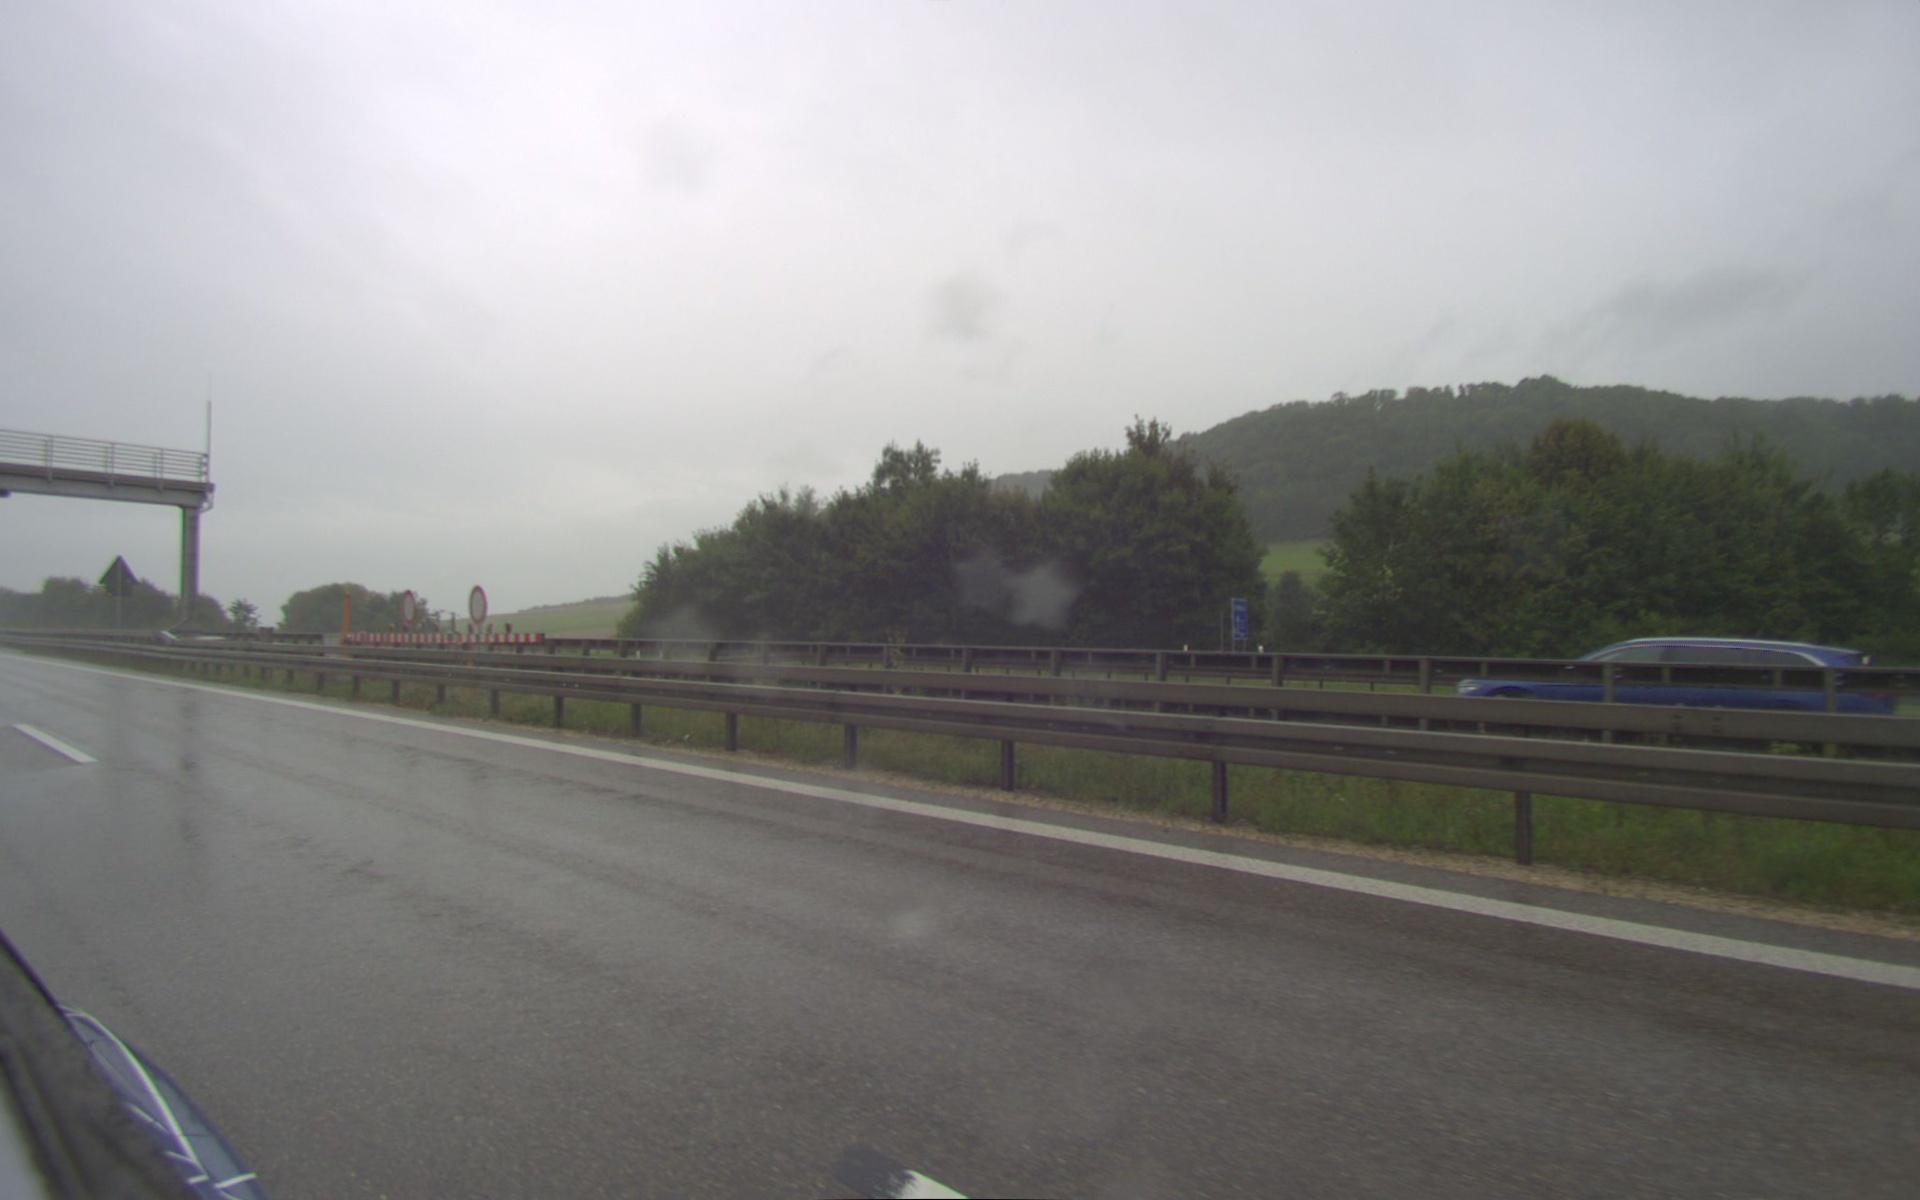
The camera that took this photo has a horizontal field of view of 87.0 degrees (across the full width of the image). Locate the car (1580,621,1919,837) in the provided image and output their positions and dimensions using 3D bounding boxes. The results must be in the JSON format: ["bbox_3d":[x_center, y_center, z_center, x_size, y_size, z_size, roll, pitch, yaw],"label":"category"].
[{"bbox_3d":[10.933,1.387,11.753,5.995,2.245,2.600,-2,-1,41],"label":"car"}]
